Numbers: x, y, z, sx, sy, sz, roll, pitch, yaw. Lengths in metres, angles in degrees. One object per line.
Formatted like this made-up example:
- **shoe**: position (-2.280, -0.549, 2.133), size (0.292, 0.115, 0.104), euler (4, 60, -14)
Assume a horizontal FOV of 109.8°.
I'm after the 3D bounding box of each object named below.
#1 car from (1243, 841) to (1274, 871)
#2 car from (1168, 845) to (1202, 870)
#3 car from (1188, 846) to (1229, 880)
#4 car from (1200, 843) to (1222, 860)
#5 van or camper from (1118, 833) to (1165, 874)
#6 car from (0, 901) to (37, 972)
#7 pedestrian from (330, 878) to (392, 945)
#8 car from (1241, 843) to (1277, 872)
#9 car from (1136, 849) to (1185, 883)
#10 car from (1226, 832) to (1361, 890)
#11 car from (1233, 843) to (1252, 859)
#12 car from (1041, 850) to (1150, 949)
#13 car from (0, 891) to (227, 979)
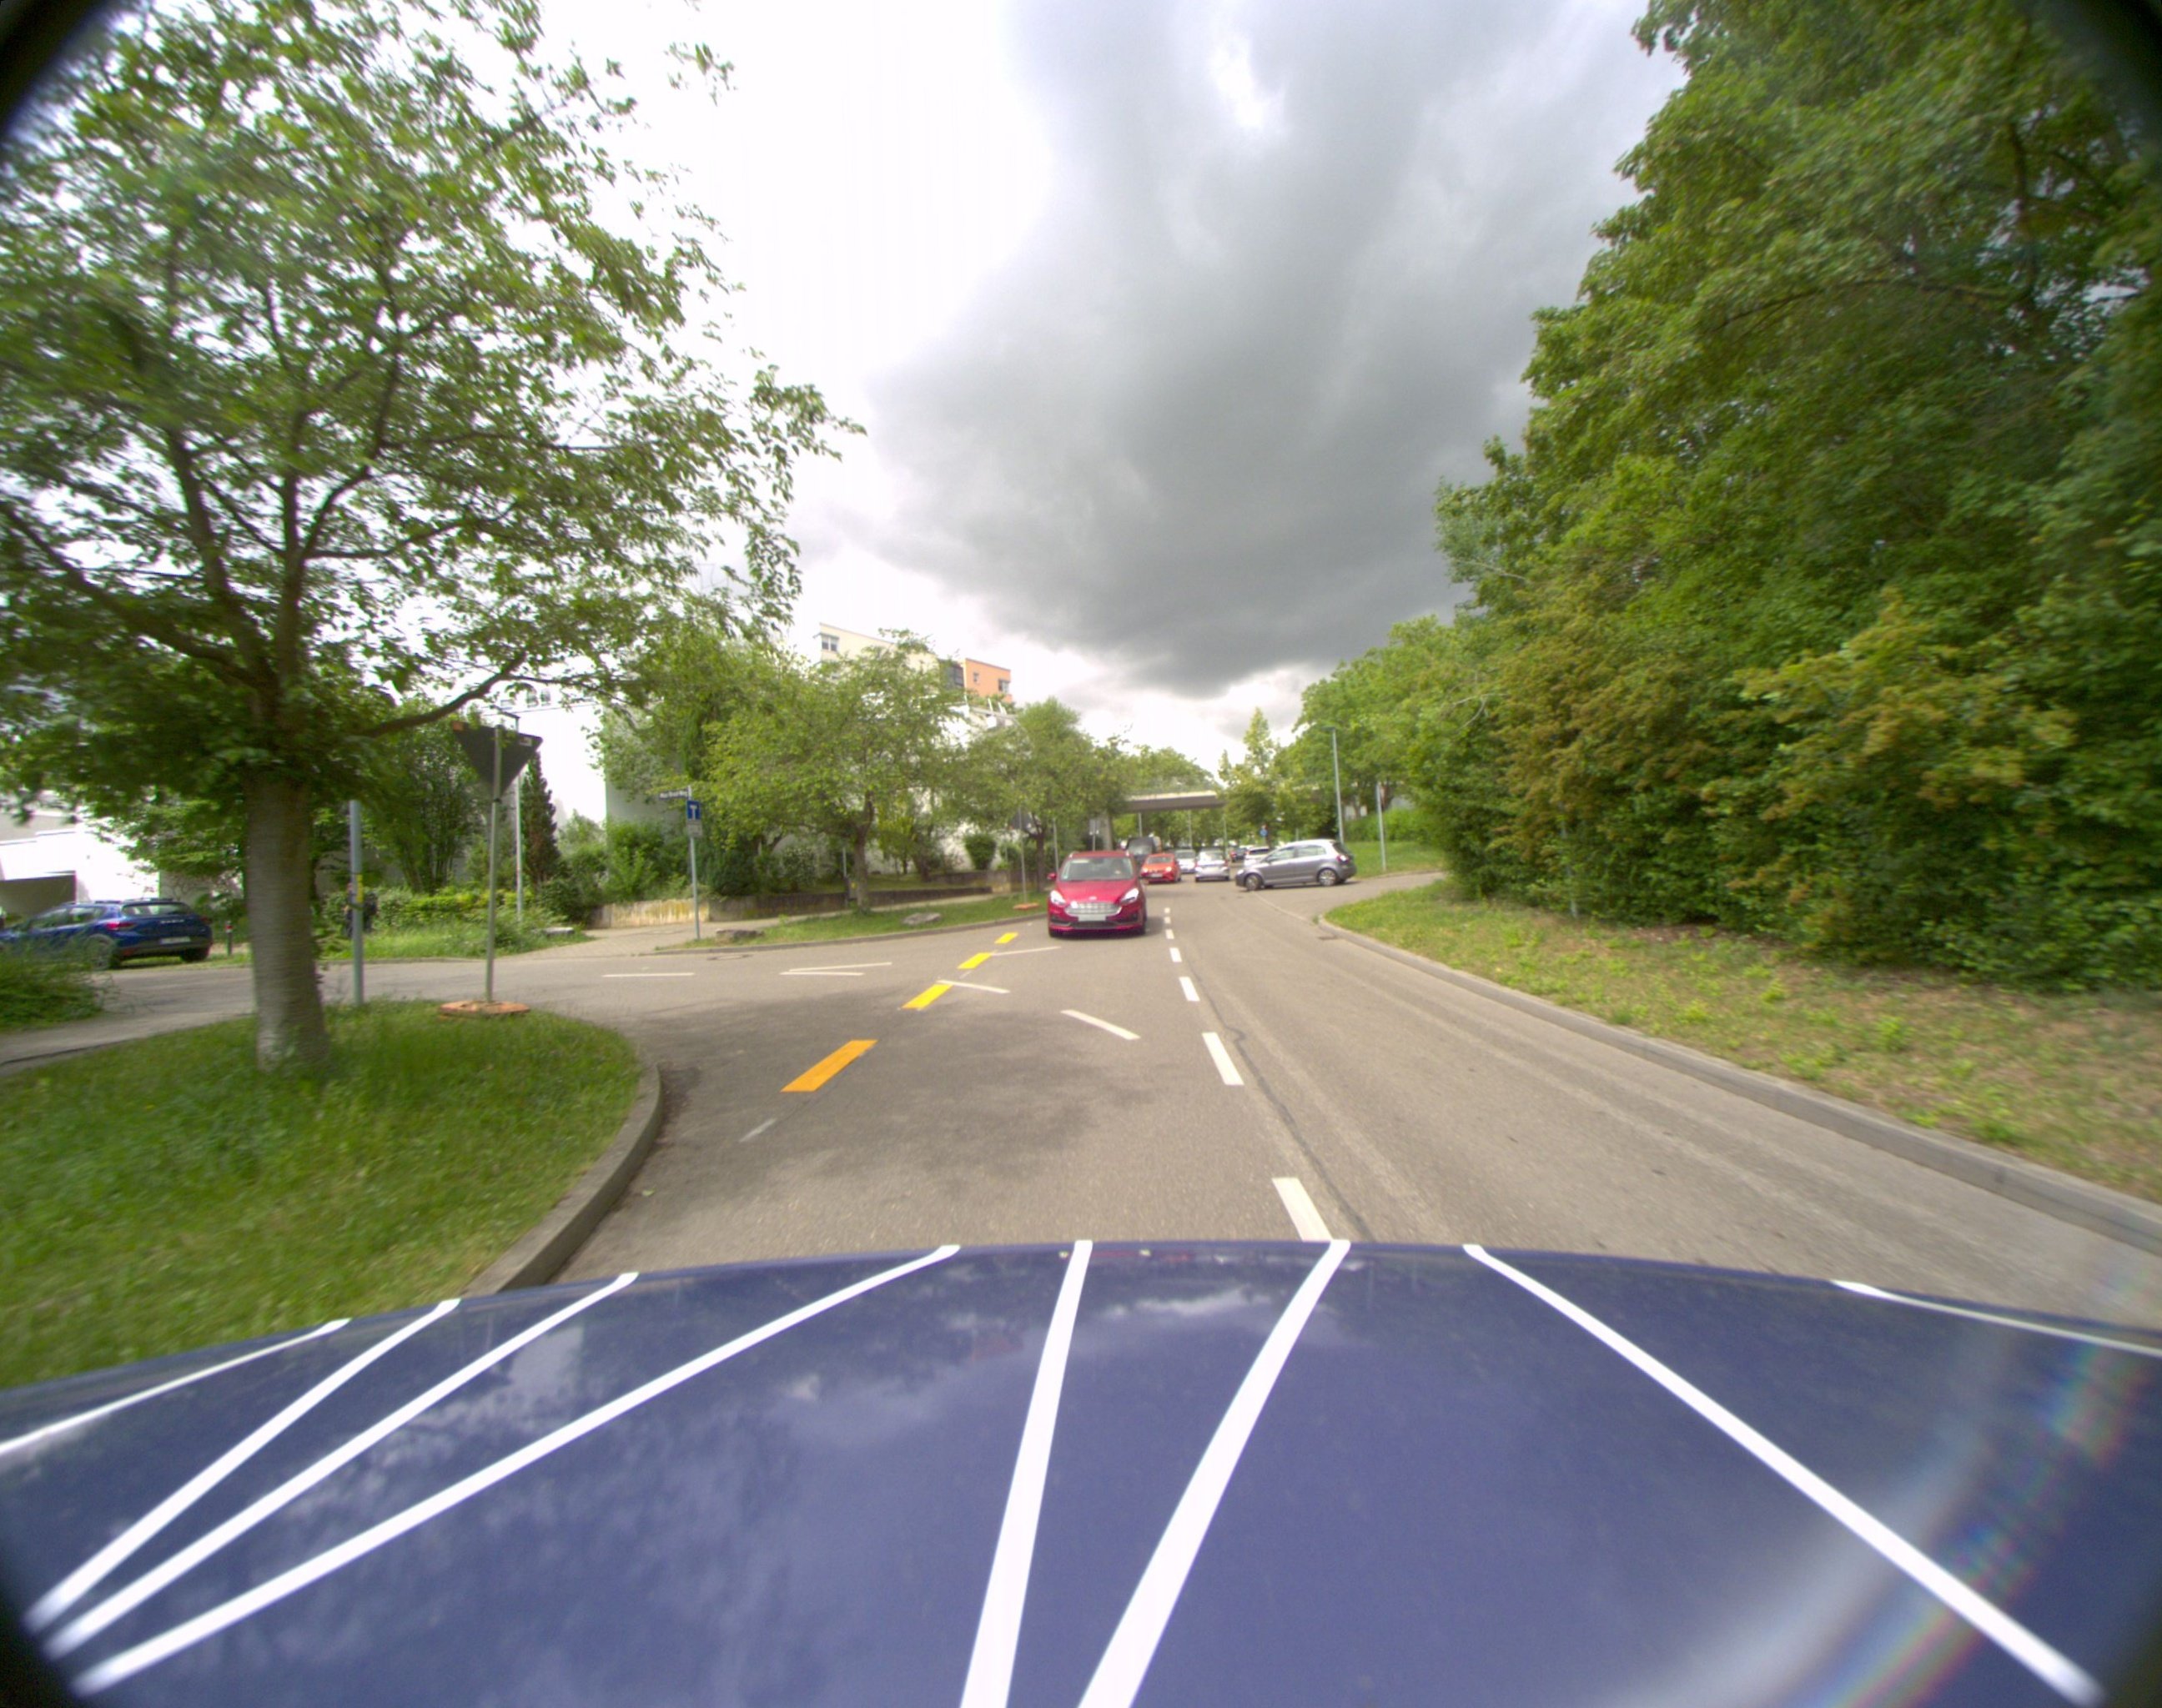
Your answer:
- **car**: position (10.964, 0.099, 46.835), size (1.596, 1.575, 2.687), euler (-7, 0, 15)
- **car**: position (6.954, 0.224, 50.482), size (1.778, 1.443, 4.003), euler (-3, 1, 14)
- **car**: position (6.367, 0.410, 37.653), size (1.844, 1.447, 3.655), euler (-3, 1, 11)
- **car**: position (11.761, -0.202, 68.657), size (1.778, 1.412, 4.004), euler (3, 1, 11)
- **van or camper**: position (4.019, -0.091, 49.438), size (1.996, 2.481, 5.763), euler (-3, 1, 14)
- **car**: position (-27.901, 2.089, 18.162), size (3.994, 1.652, 1.729), euler (-3, 1, 8)
- **pedestrian**: position (-19.637, 1.559, 20.728), size (0.834, 1.727, 0.786), euler (-3, 1, 8)
- **car**: position (9.878, 0.153, 42.136), size (1.811, 1.397, 4.051), euler (-3, 1, 14)
- **car**: position (3.945, 0.554, 37.329), size (1.860, 1.434, 4.003), euler (-3, 0, 13)
- **car**: position (7.445, 0.249, 26.707), size (4.110, 1.652, 1.761), euler (-6, -1, 33)
- **car**: position (15.708, -0.329, 73.780), size (1.754, 1.411, 4.371), euler (-2, 0, 13)
- **car**: position (0.403, 0.773, 14.848), size (1.812, 1.600, 3.722), euler (-2, 1, 5)
- **car**: position (-22.394, 1.825, 17.279), size (3.996, 1.652, 1.728), euler (-3, 1, 3)
